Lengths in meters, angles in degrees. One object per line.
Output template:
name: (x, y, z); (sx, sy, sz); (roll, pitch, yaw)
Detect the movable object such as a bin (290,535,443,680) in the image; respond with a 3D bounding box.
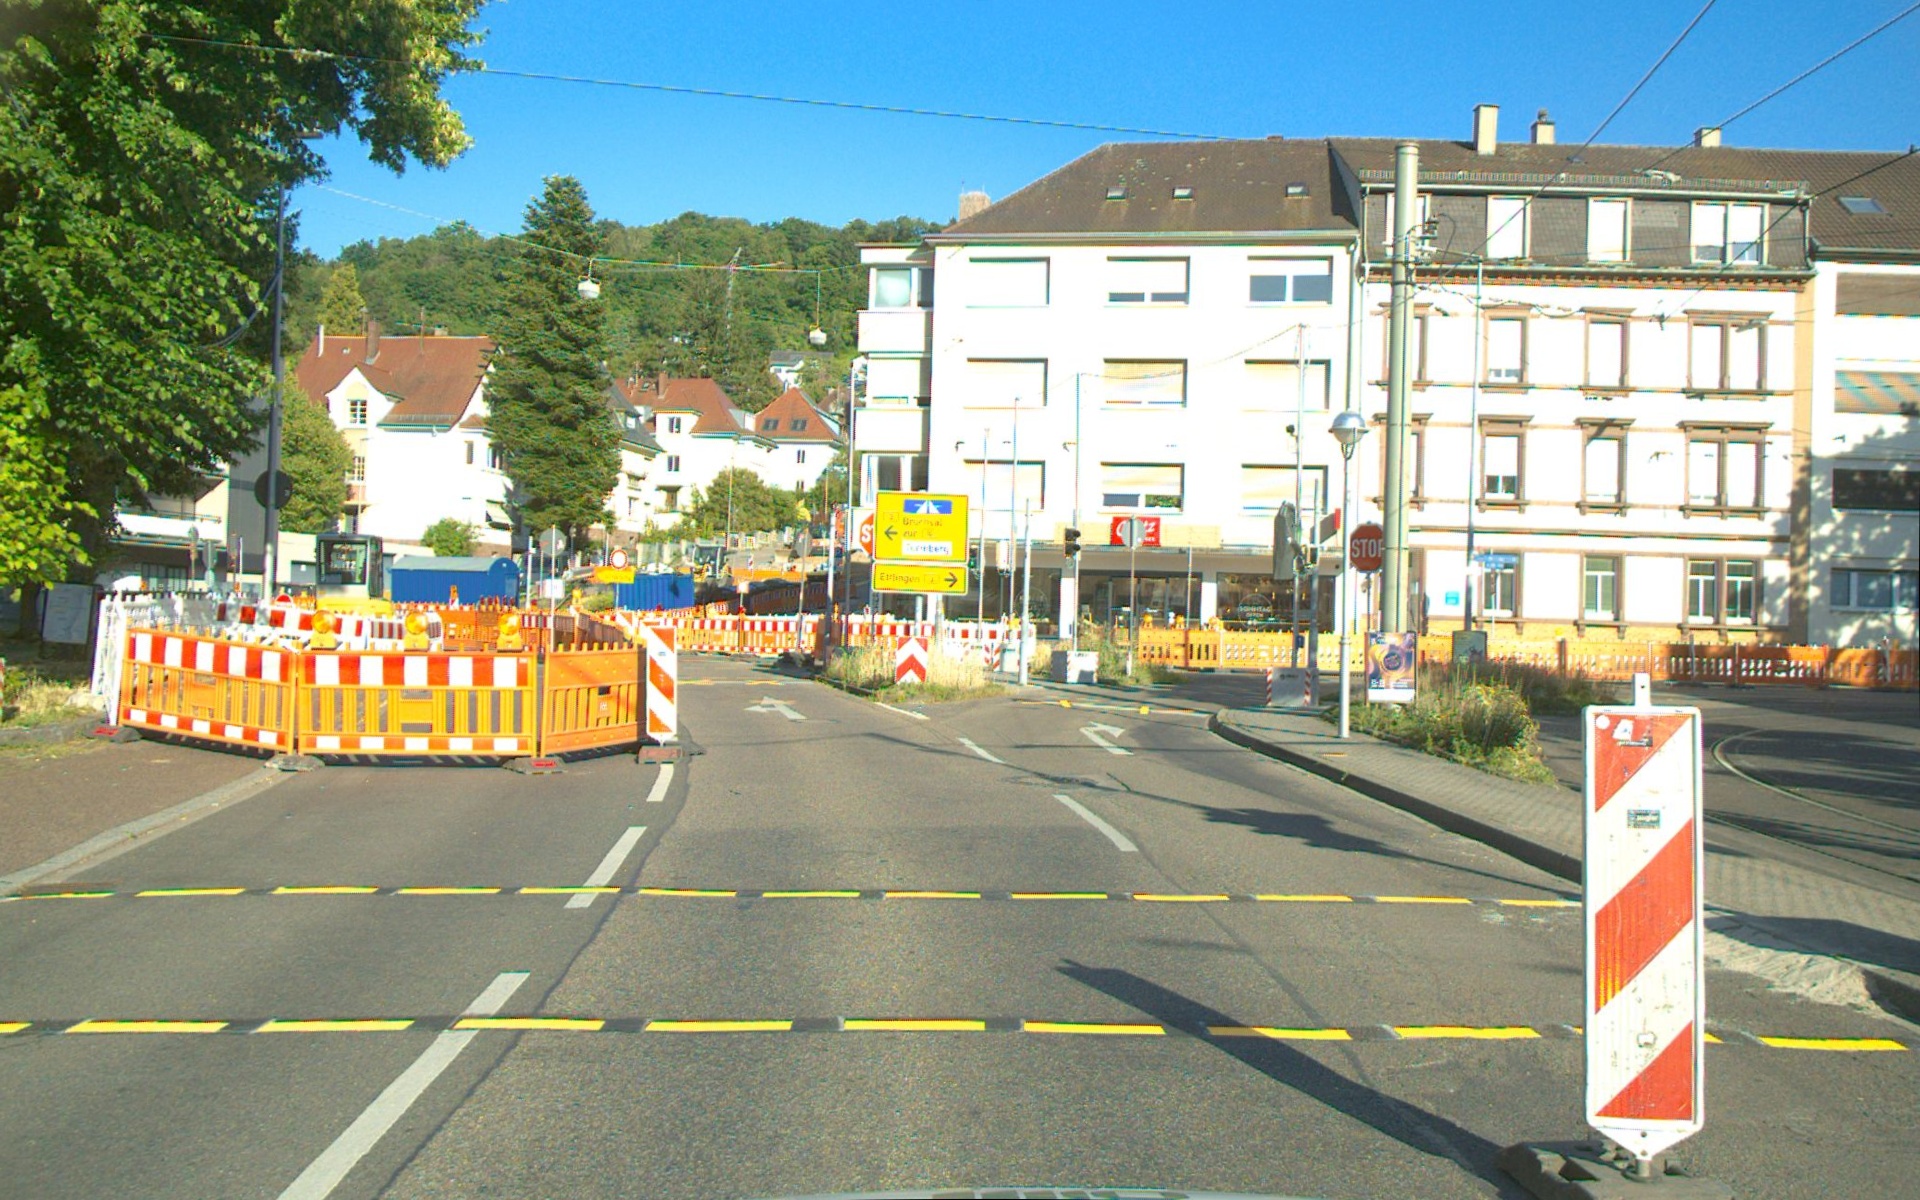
movable object such as a bin: (-10.386, 0.126, 29.198); (1.615, 2.365, 3.916); (1, 0, -6)

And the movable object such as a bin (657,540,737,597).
movable object such as a bin: (-12.471, -1.449, 78.654); (1.907, 2.538, 4.553); (1, -1, 17)

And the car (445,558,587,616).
car: (-17.539, -0.468, 65.773); (2.529, 2.158, 6.154); (1, -1, 17)

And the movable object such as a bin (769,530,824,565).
movable object such as a bin: (-11.289, -3.596, 114.617); (2.510, 2.159, 5.788); (1, -1, 8)
